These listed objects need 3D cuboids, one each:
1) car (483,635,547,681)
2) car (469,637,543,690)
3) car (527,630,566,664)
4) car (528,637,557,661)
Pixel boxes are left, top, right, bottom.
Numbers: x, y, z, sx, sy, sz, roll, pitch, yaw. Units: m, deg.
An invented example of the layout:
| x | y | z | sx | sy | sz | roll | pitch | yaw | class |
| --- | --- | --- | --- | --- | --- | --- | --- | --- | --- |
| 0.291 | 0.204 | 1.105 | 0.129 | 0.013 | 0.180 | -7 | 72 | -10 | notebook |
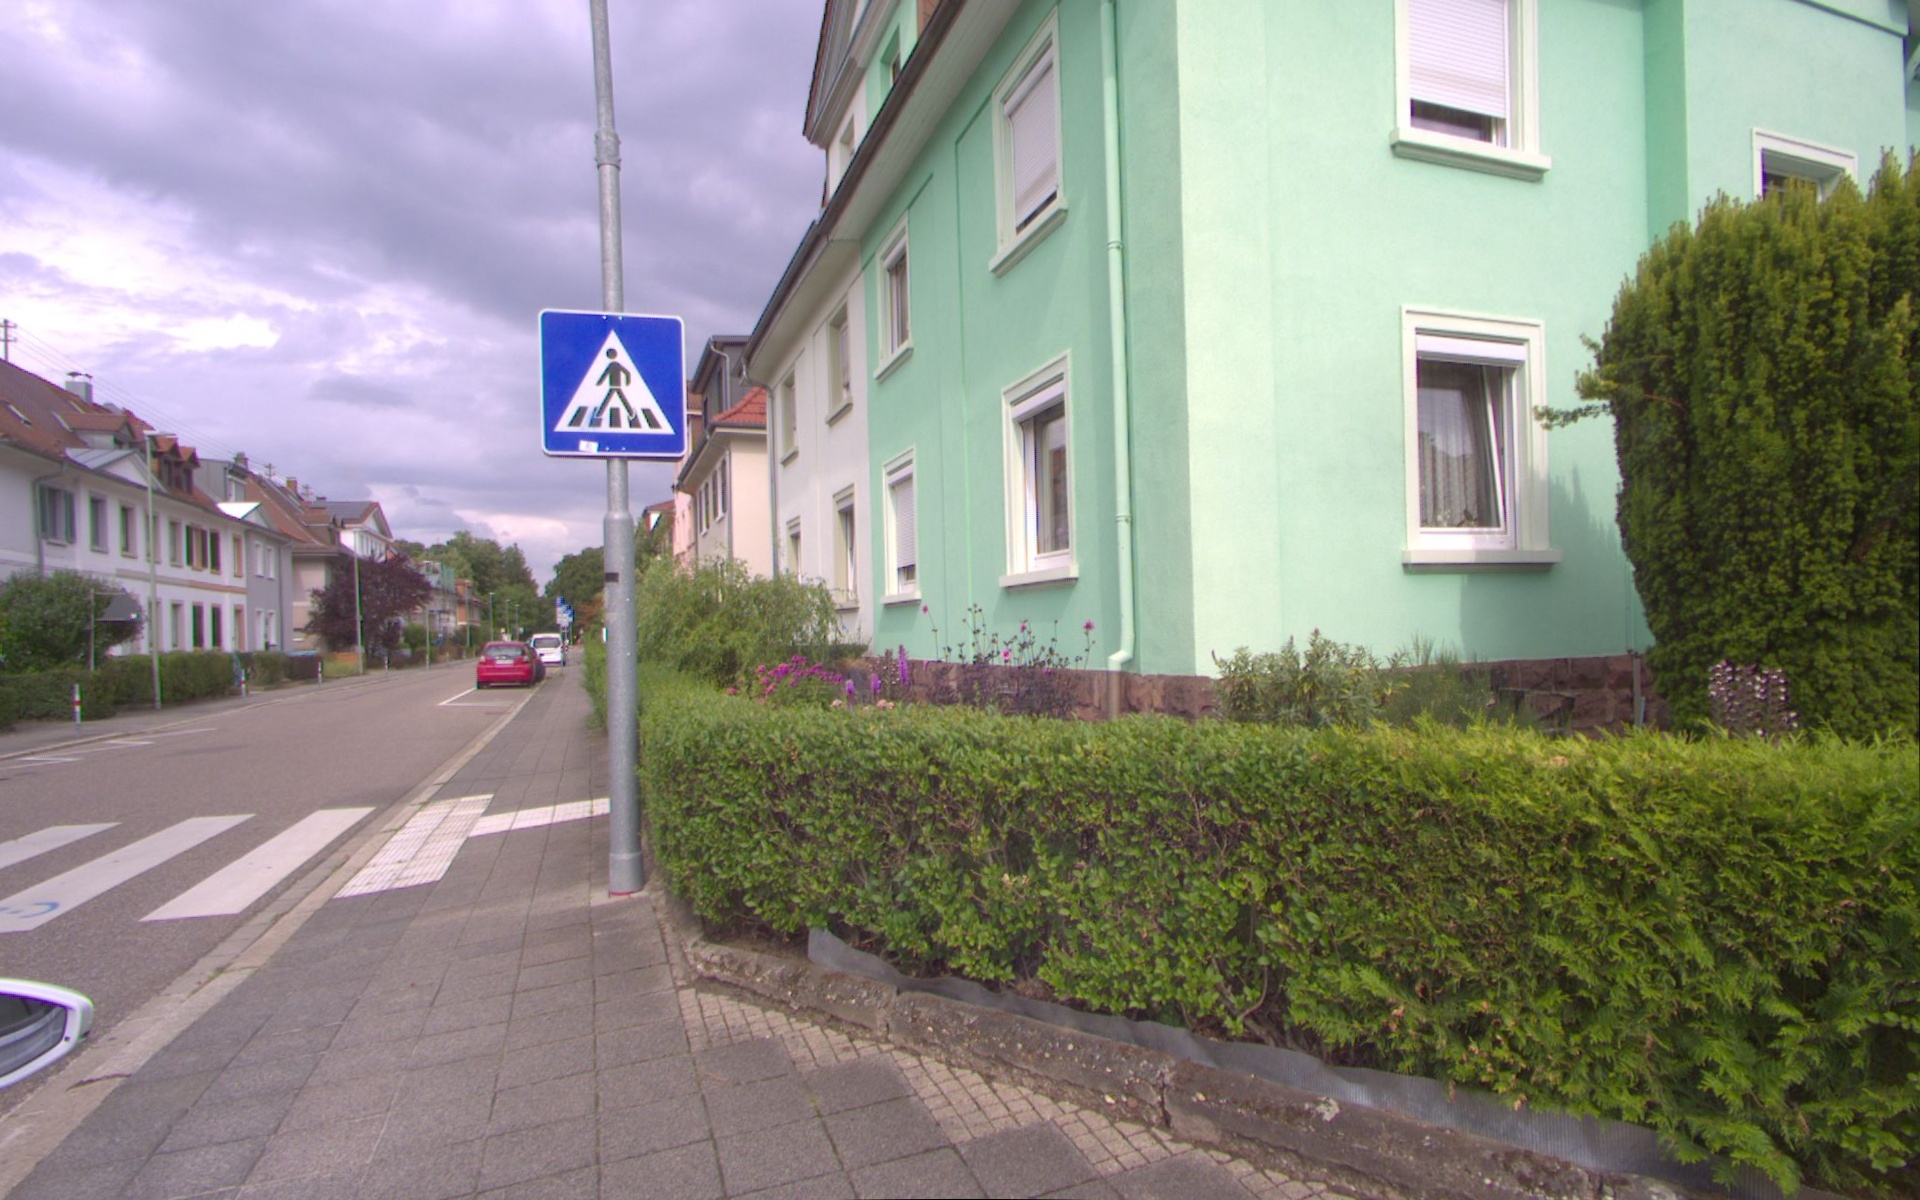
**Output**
| x | y | z | sx | sy | sz | roll | pitch | yaw | class |
| --- | --- | --- | --- | --- | --- | --- | --- | --- | --- |
| -17.041 | 2.181 | 38.535 | 1.966 | 1.594 | 3.991 | -1 | -1 | -20 | car |
| -15.206 | 2.078 | 33.707 | 1.966 | 1.594 | 3.991 | -1 | -1 | -20 | car |
| -24.780 | 2.811 | 60.074 | 1.966 | 1.928 | 3.991 | -1 | -1 | -20 | car |
| -33.564 | 3.974 | 80.662 | 1.966 | 1.854 | 3.994 | 0 | -4 | -20 | car |
